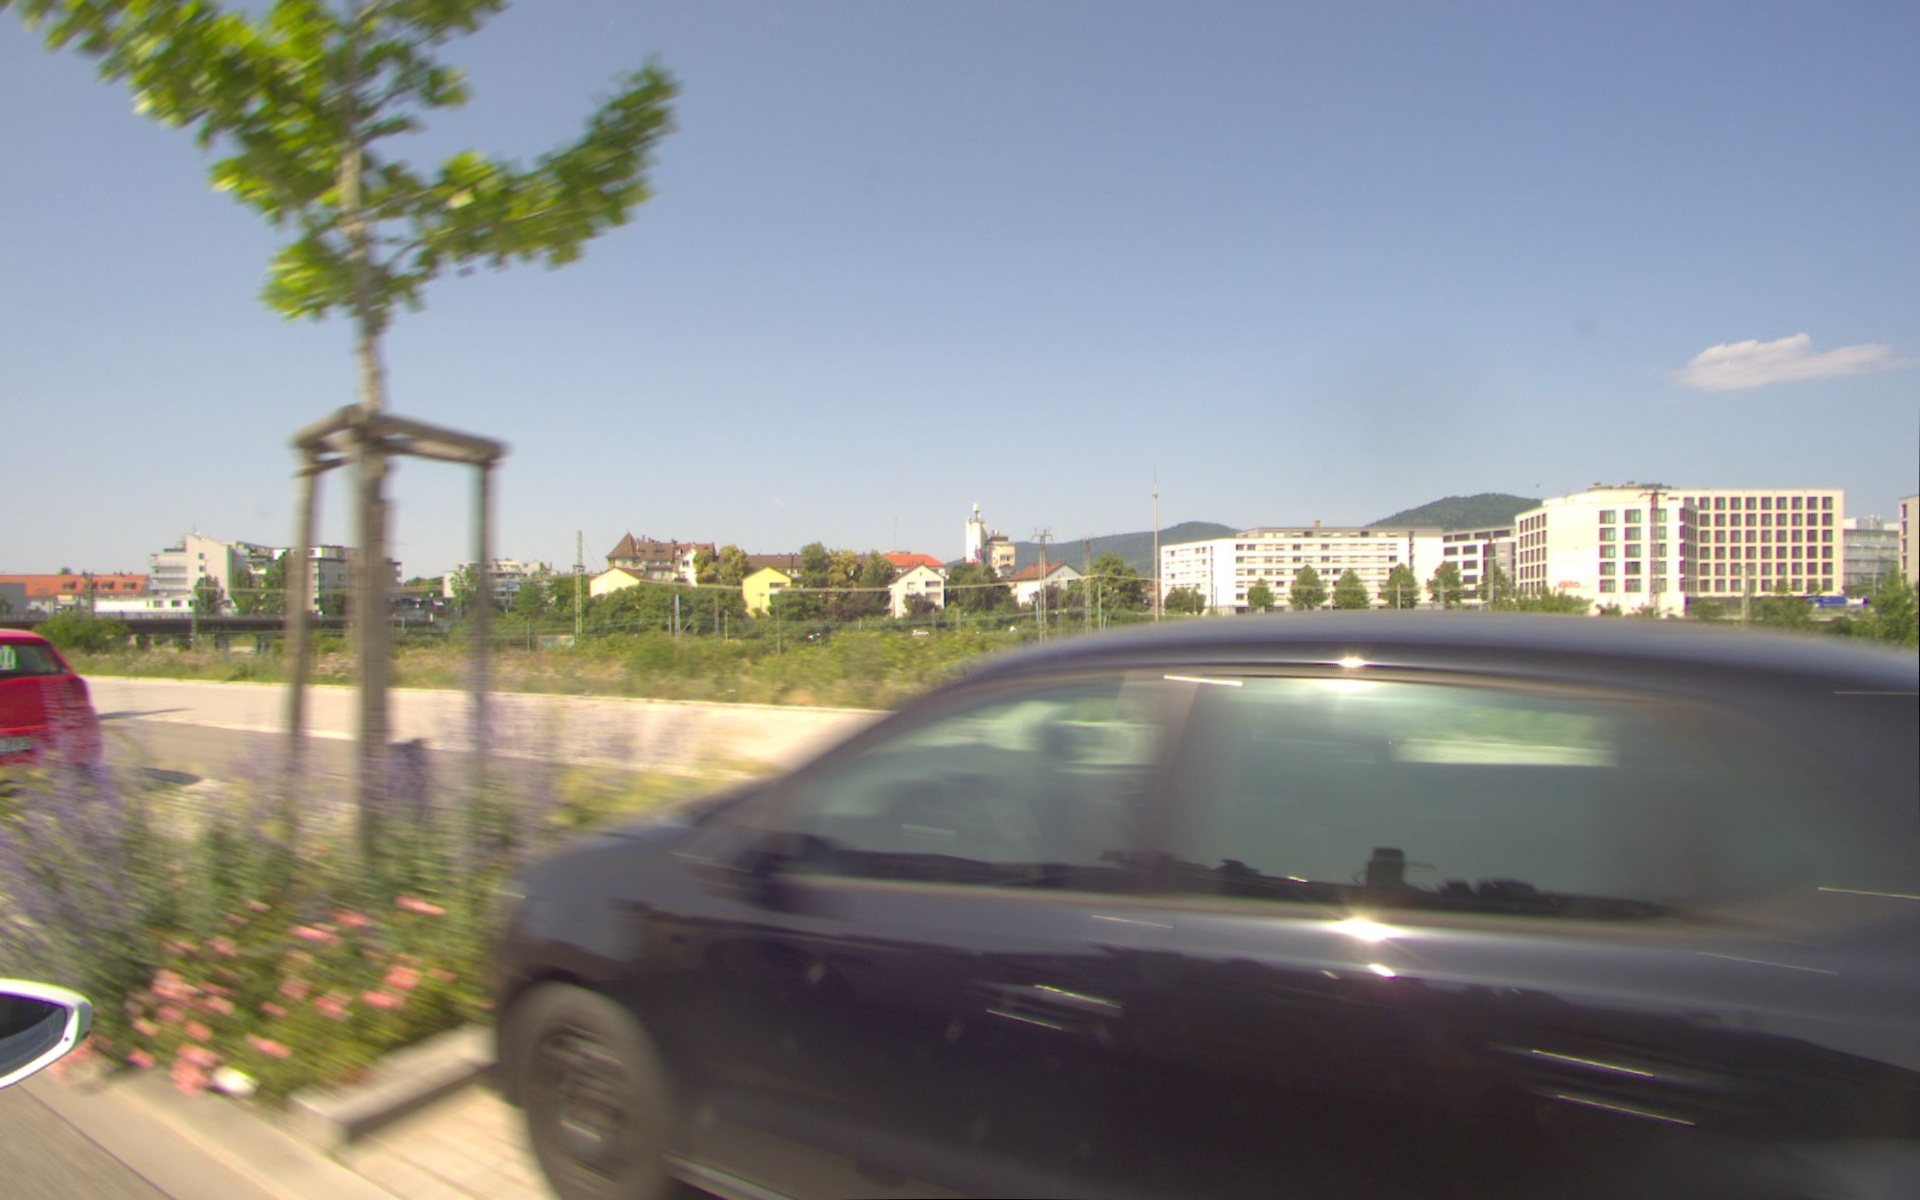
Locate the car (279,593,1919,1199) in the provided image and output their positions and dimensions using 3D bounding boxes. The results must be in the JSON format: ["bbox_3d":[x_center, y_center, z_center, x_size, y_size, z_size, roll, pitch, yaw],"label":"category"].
[{"bbox_3d":[0.079,0.763,2.759,4.179,1.448,1.629,-1,1,31],"label":"car"}]

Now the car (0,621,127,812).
[{"bbox_3d":[-9.160,0.916,8.777,3.943,1.470,1.715,0,-2,32],"label":"car"}]
